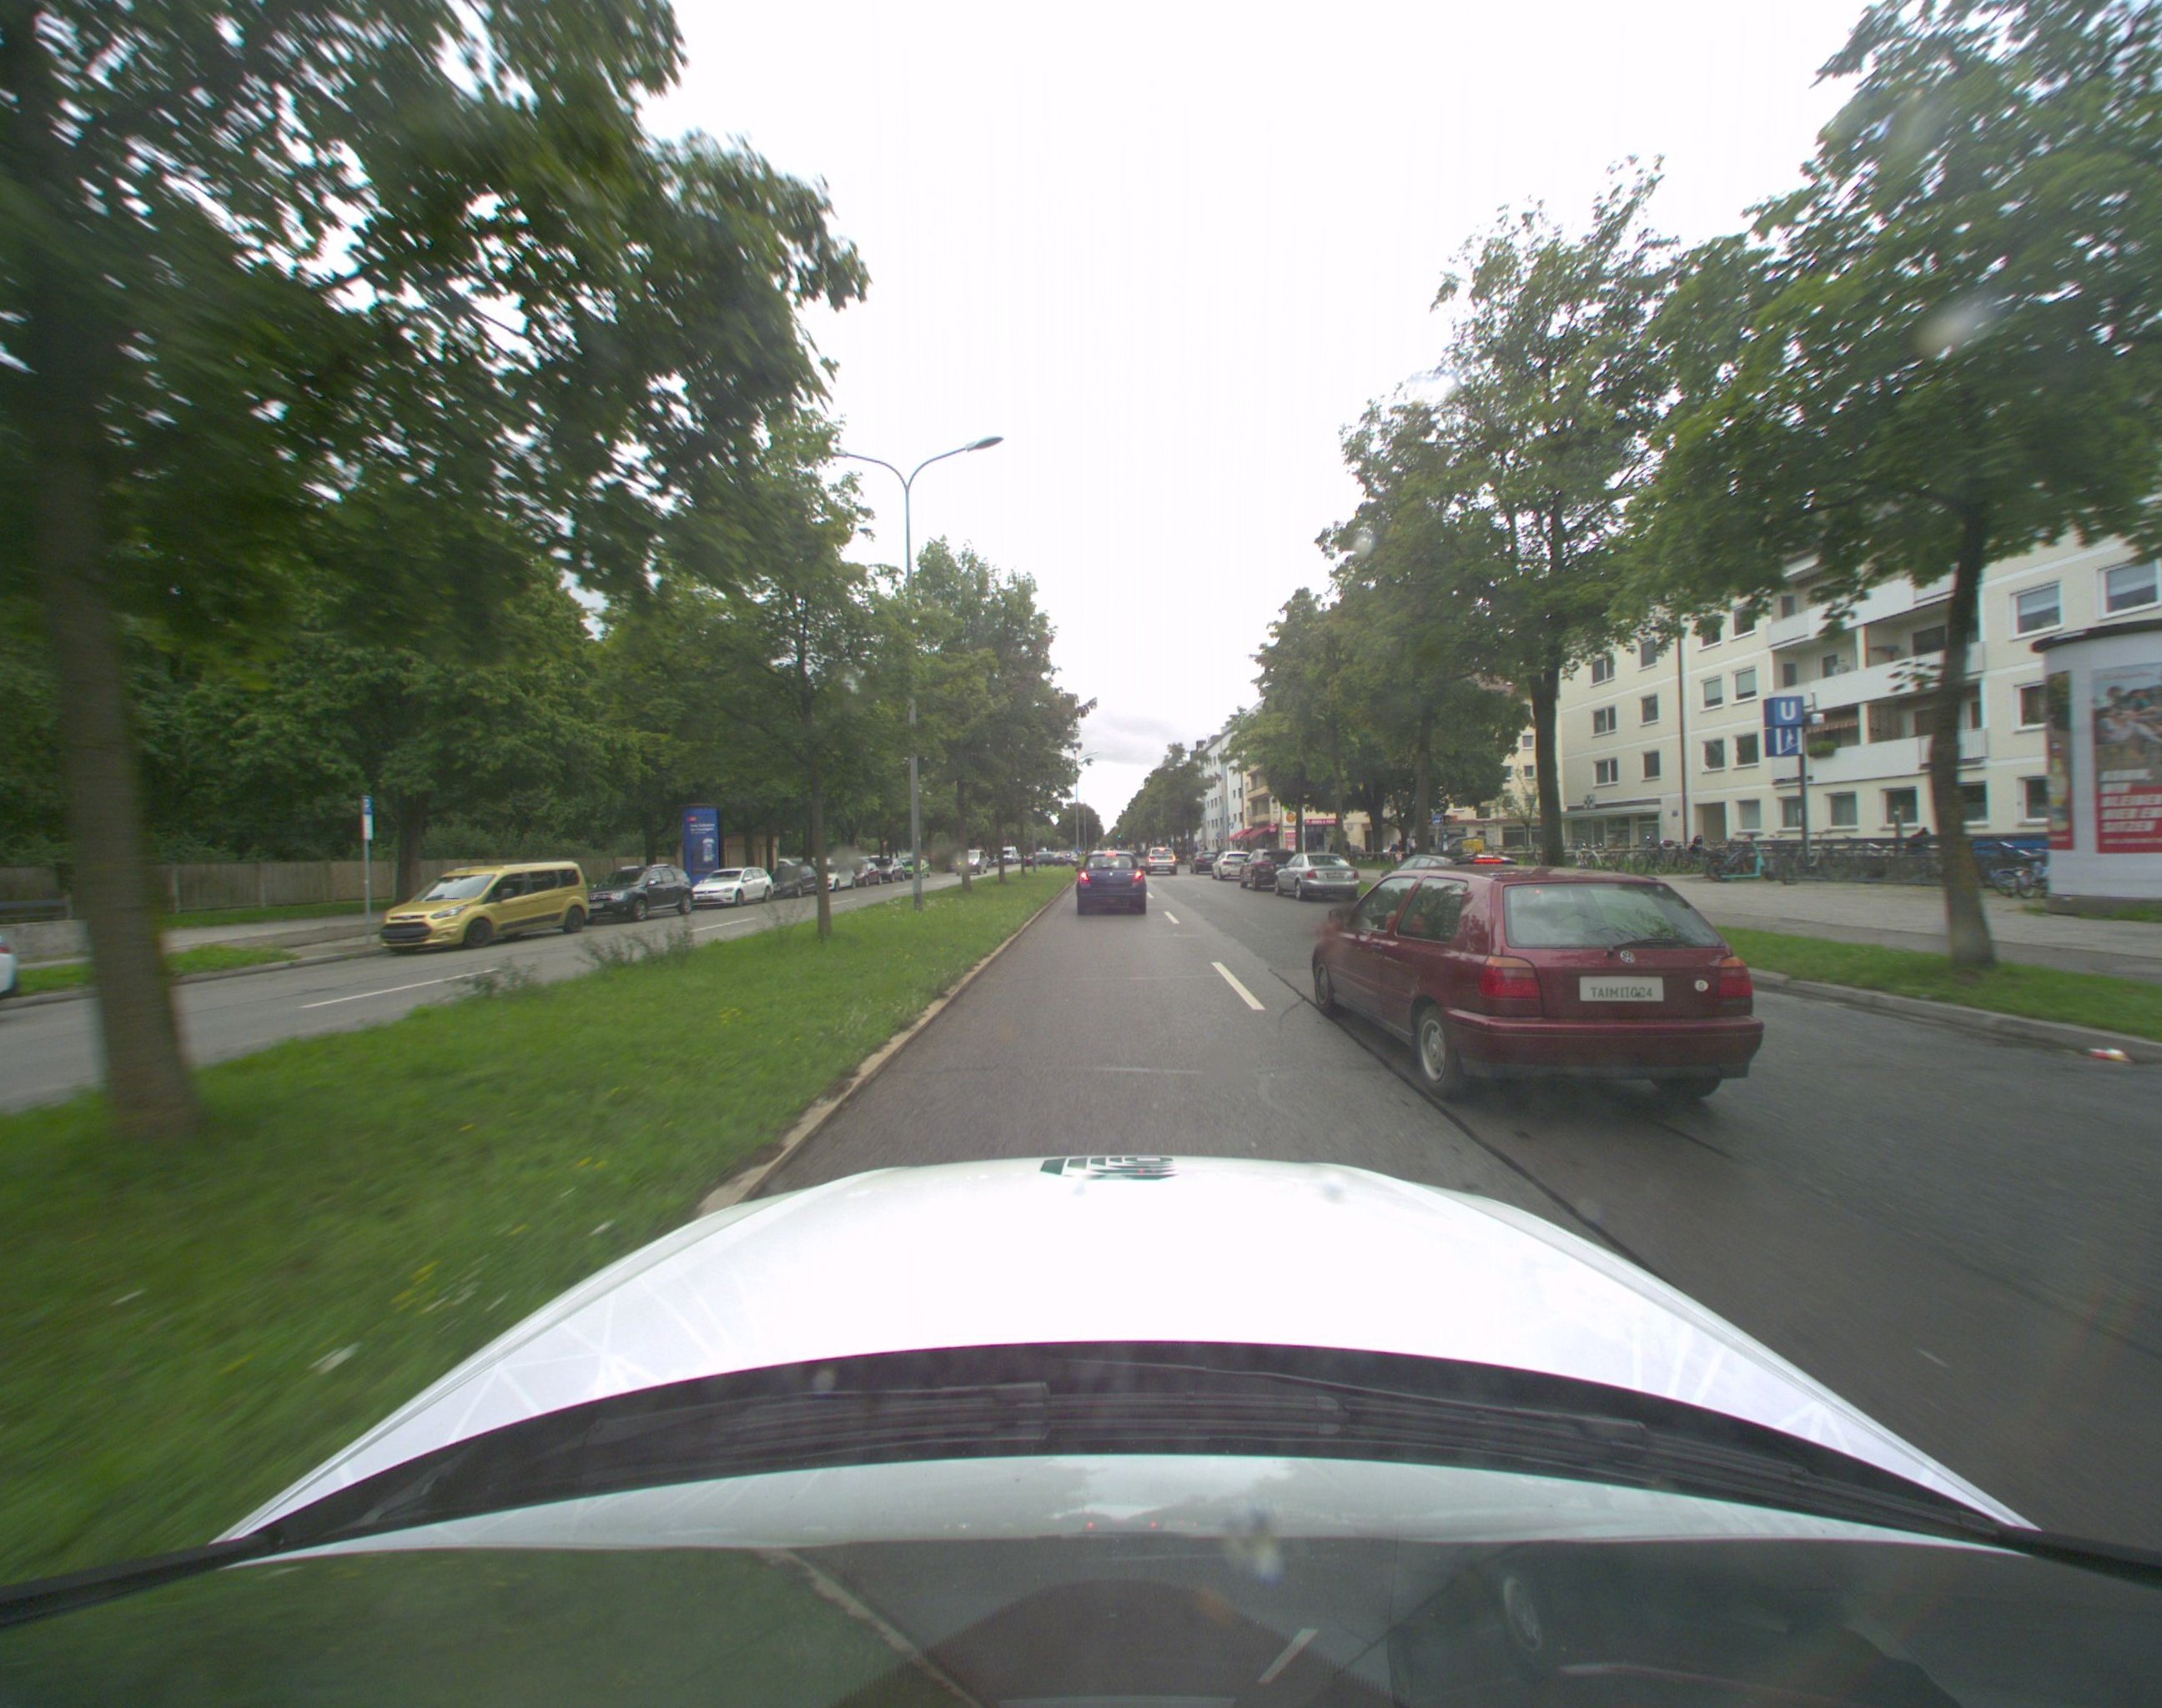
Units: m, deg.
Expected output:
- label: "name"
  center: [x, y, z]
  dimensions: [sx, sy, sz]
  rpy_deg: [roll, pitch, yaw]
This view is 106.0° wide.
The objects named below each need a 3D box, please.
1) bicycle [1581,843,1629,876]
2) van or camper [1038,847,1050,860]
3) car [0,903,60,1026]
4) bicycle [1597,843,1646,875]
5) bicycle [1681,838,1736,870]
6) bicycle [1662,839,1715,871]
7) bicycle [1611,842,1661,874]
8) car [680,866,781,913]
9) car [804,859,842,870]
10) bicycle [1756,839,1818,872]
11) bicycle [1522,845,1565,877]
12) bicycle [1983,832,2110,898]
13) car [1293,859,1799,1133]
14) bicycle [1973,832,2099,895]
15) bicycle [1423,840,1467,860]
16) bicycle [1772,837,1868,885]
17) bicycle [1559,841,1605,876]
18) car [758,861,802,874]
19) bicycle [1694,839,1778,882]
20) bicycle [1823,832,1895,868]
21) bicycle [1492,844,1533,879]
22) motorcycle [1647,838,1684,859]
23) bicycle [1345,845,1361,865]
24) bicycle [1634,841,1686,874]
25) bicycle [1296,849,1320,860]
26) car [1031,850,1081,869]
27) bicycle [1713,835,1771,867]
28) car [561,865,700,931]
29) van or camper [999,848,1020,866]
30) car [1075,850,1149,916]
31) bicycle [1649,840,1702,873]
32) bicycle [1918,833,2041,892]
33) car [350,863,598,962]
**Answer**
- label: "bicycle"
  center: [17.529, 0.169, 27.286]
  dimensions: [0.429, 1.028, 1.885]
  rpy_deg: [-3, 0, 3]
- label: "van or camper"
  center: [-9.914, -0.128, 217.400]
  dimensions: [2.552, 3.296, 6.939]
  rpy_deg: [-1, 0, 1]
- label: "car"
  center: [-14.196, 1.436, 8.079]
  dimensions: [1.850, 1.472, 4.876]
  rpy_deg: [-3, 0, 1]
- label: "bicycle"
  center: [18.076, 0.147, 27.261]
  dimensions: [0.429, 1.028, 1.885]
  rpy_deg: [-3, 0, 3]
- label: "bicycle"
  center: [21.013, -0.004, 27.296]
  dimensions: [0.429, 1.028, 1.885]
  rpy_deg: [-3, 0, 3]
- label: "bicycle"
  center: [20.296, 0.025, 27.250]
  dimensions: [0.429, 1.028, 1.885]
  rpy_deg: [-3, 0, 3]
- label: "bicycle"
  center: [18.558, 0.118, 27.281]
  dimensions: [0.429, 1.028, 1.885]
  rpy_deg: [-3, 0, 3]
- label: "car"
  center: [-13.379, 1.309, 31.406]
  dimensions: [1.756, 1.449, 4.534]
  rpy_deg: [-3, 0, 1]
- label: "car"
  center: [-35.185, 1.450, 111.059]
  dimensions: [4.673, 1.445, 1.673]
  rpy_deg: [-1, 0, 2]
- label: "bicycle"
  center: [23.063, 0.025, 26.646]
  dimensions: [0.429, 1.028, 1.885]
  rpy_deg: [-3, 0, 3]
- label: "bicycle"
  center: [15.682, 0.227, 27.683]
  dimensions: [0.429, 1.028, 1.885]
  rpy_deg: [-3, 0, 3]
- label: "bicycle"
  center: [16.761, 0.186, 14.142]
  dimensions: [1.875, 1.028, 0.432]
  rpy_deg: [-3, 0, -7]
- label: "car"
  center: [2.944, 0.752, 6.220]
  dimensions: [1.676, 1.383, 3.919]
  rpy_deg: [0, 0, 1]
- label: "bicycle"
  center: [17.198, 0.168, 14.681]
  dimensions: [1.874, 1.028, 0.432]
  rpy_deg: [-3, 0, -5]
- label: "bicycle"
  center: [17.968, -0.190, 40.209]
  dimensions: [1.869, 0.940, 0.558]
  rpy_deg: [-1, 0, 3]
- label: "bicycle"
  center: [17.279, 0.158, 19.054]
  dimensions: [1.872, 1.028, 0.432]
  rpy_deg: [-3, 0, -2]
- label: "bicycle"
  center: [16.832, 0.136, 27.396]
  dimensions: [0.429, 1.101, 1.885]
  rpy_deg: [-3, 0, 3]
- label: "car"
  center: [-28.719, 1.276, 77.766]
  dimensions: [4.363, 1.201, 1.683]
  rpy_deg: [-1, -1, 33]
- label: "bicycle"
  center: [17.237, 0.175, 21.441]
  dimensions: [1.872, 1.028, 0.432]
  rpy_deg: [-3, 0, -2]
- label: "bicycle"
  center: [23.666, -0.119, 24.812]
  dimensions: [0.429, 1.028, 1.885]
  rpy_deg: [-3, 0, 3]
- label: "bicycle"
  center: [14.579, 0.232, 27.547]
  dimensions: [0.429, 1.133, 1.885]
  rpy_deg: [-3, 1, 3]
- label: "motorcycle"
  center: [29.649, -0.283, 41.340]
  dimensions: [0.601, 1.023, 1.908]
  rpy_deg: [-1, 0, 2]
- label: "bicycle"
  center: [15.518, 0.045, 46.515]
  dimensions: [0.380, 1.103, 1.885]
  rpy_deg: [-1, 0, 3]
- label: "bicycle"
  center: [19.320, 0.104, 27.229]
  dimensions: [0.429, 1.028, 1.885]
  rpy_deg: [-3, 0, 3]
- label: "bicycle"
  center: [19.631, 0.051, 70.445]
  dimensions: [1.841, 0.957, 0.557]
  rpy_deg: [-1, 0, 0]
- label: "car"
  center: [-2.114, 0.439, 67.967]
  dimensions: [4.114, 1.468, 1.837]
  rpy_deg: [-2, 0, -5]
- label: "bicycle"
  center: [21.924, -0.103, 27.059]
  dimensions: [0.429, 1.028, 1.885]
  rpy_deg: [-3, 0, 3]
- label: "car"
  center: [-13.615, 1.260, 24.936]
  dimensions: [1.730, 1.646, 4.257]
  rpy_deg: [-3, 0, 1]
- label: "van or camper"
  center: [-10.559, 0.453, 120.605]
  dimensions: [2.108, 2.482, 7.454]
  rpy_deg: [-1, 0, 3]
- label: "car"
  center: [0.747, 0.660, 20.928]
  dimensions: [1.676, 1.501, 3.919]
  rpy_deg: [-1, 0, 1]
- label: "bicycle"
  center: [19.803, 0.071, 27.176]
  dimensions: [0.429, 1.028, 1.885]
  rpy_deg: [-3, 0, 3]
- label: "bicycle"
  center: [17.141, 0.154, 15.547]
  dimensions: [1.872, 1.028, 0.432]
  rpy_deg: [-3, 0, -2]
- label: "car"
  center: [-13.597, 1.208, 18.725]
  dimensions: [1.807, 1.783, 4.821]
  rpy_deg: [-3, 0, 3]
